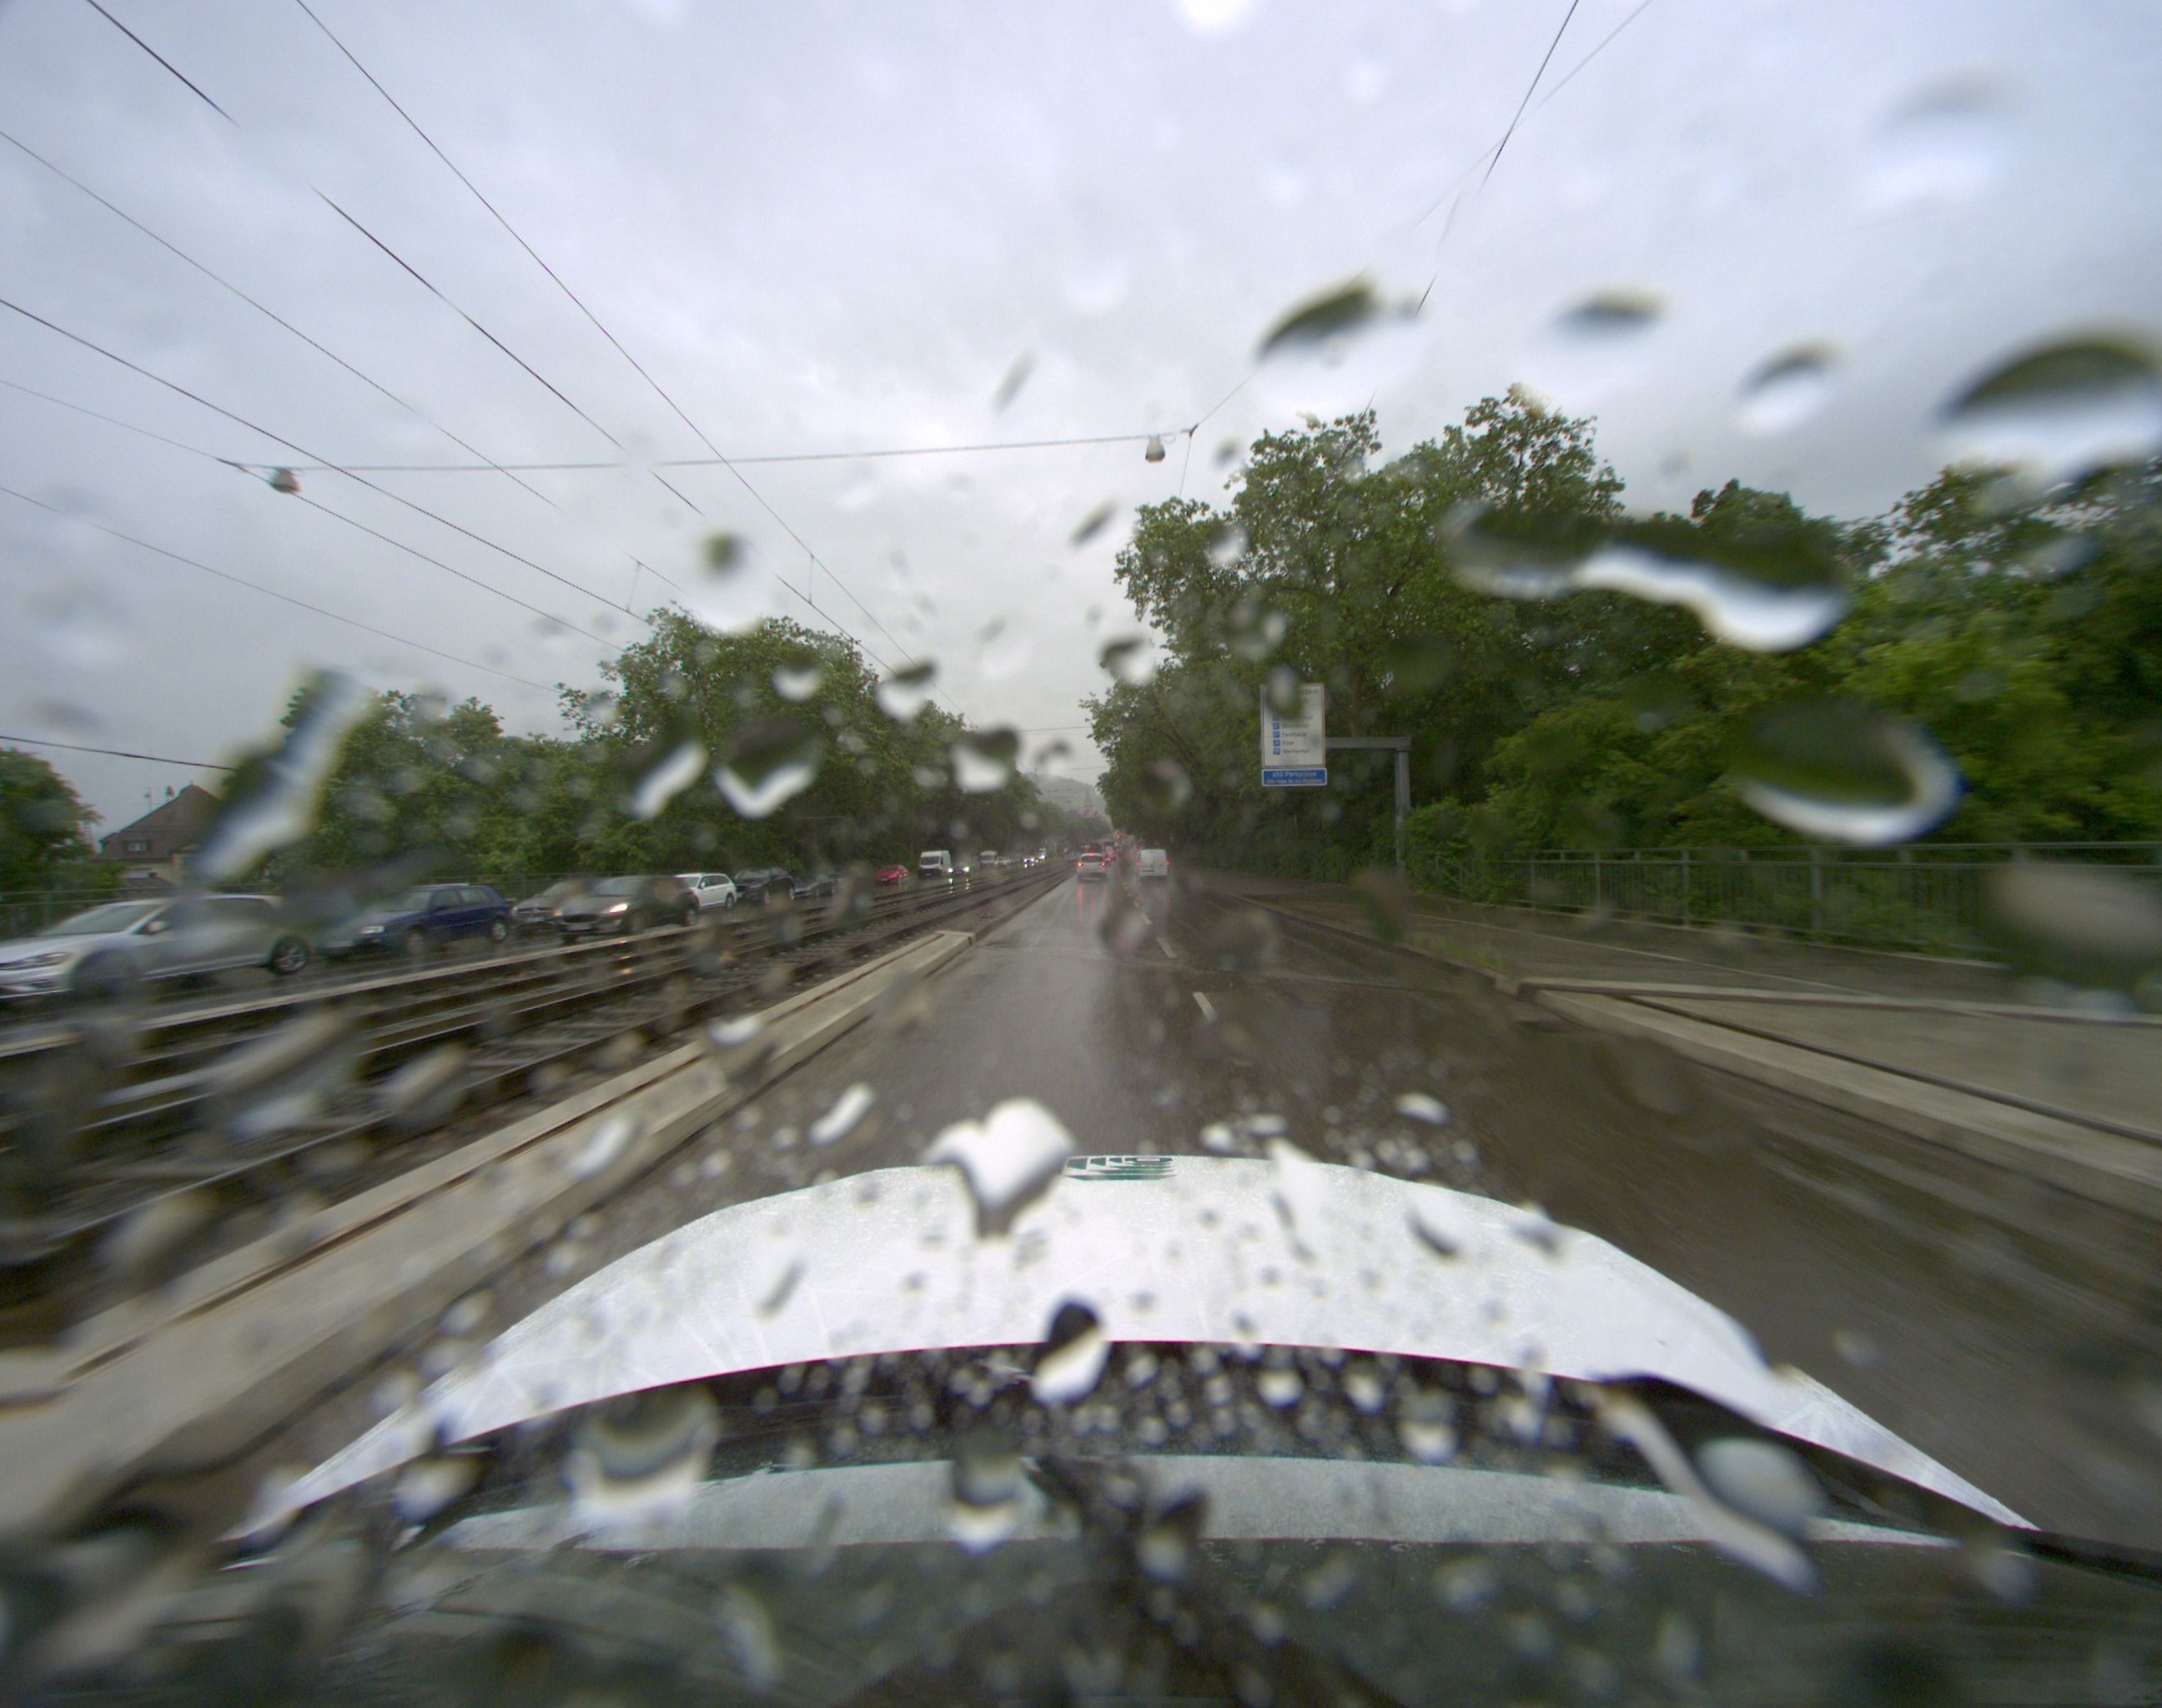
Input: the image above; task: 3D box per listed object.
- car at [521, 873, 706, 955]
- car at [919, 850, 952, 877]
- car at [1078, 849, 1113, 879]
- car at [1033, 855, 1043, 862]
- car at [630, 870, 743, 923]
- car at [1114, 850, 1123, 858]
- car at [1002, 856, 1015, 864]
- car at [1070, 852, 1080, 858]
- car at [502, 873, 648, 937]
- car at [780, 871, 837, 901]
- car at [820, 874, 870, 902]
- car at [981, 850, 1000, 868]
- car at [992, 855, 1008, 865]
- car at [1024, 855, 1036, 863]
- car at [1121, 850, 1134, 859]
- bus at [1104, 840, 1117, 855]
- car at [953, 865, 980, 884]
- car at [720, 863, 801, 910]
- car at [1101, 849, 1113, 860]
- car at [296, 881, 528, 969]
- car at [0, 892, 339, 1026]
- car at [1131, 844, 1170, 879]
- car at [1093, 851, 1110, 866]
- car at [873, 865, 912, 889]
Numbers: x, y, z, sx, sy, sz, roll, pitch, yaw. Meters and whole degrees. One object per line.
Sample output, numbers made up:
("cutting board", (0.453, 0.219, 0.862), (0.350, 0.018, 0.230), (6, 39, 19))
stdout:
("car", (-11.010, 1.346, 19.610), (1.809, 1.368, 4.268), (0, 4, 2))
("car", (-13.148, 0.844, 73.901), (1.735, 2.169, 5.814), (-4, 1, 0))
("car", (0.934, 0.557, 49.767), (1.985, 1.716, 4.004), (0, 1, 4))
("car", (-9.174, 1.022, 173.718), (1.798, 1.350, 4.266), (-4, 1, 2))
("car", (-14.072, 1.458, 29.416), (1.501, 1.400, 4.894), (-7, 1, 1))
("car", (8.838, -0.074, 192.970), (1.985, 1.826, 4.004), (0, 1, 4))
("car", (-13.259, 1.081, 149.318), (1.798, 1.350, 4.266), (-4, 1, 2))
("car", (-1.393, 0.228, 190.926), (1.795, 1.350, 4.272), (-4, 1, 7))
("car", (-14.284, 1.384, 23.310), (1.502, 1.401, 4.404), (-4, 1, -3))
("car", (-13.784, 1.594, 41.371), (1.500, 1.172, 3.714), (-4, 1, 2))
("car", (-13.615, 1.946, 47.243), (1.500, 1.292, 4.098), (-4, 1, 2))
("car", (-12.240, 0.687, 110.341), (1.794, 2.221, 4.279), (-4, 1, 2))
("car", (-12.522, 0.966, 126.364), (1.798, 1.350, 4.266), (-4, 1, 2))
("car", (-9.214, 0.872, 147.326), (1.798, 1.350, 4.266), (-4, 1, 2))
("car", (7.404, 0.016, 128.894), (1.985, 1.321, 4.004), (0, 1, 4))
("bus", (7.914, -1.773, 217.356), (3.375, 3.836, 9.749), (0, 1, 4))
("car", (-10.069, 1.788, 72.058), (1.500, 1.401, 4.710), (-4, 1, 2))
("car", (-13.825, 1.329, 35.439), (1.501, 1.671, 4.834), (-4, 1, 0))
("car", (4.820, 0.064, 148.741), (1.985, 1.826, 4.004), (0, 1, 4))
("car", (-14.485, 1.459, 18.010), (1.501, 1.401, 4.281), (-4, 1, 0))
("car", (-14.706, 1.530, 12.879), (1.857, 1.455, 4.320), (-4, 1, 1))
("car", (3.611, 0.329, 42.785), (1.985, 1.726, 4.004), (0, 1, 4))
("car", (2.577, 0.523, 102.658), (1.985, 1.826, 4.004), (0, 1, 4))
("car", (-13.452, 1.611, 58.305), (1.604, 1.442, 4.264), (-4, 1, 2))
